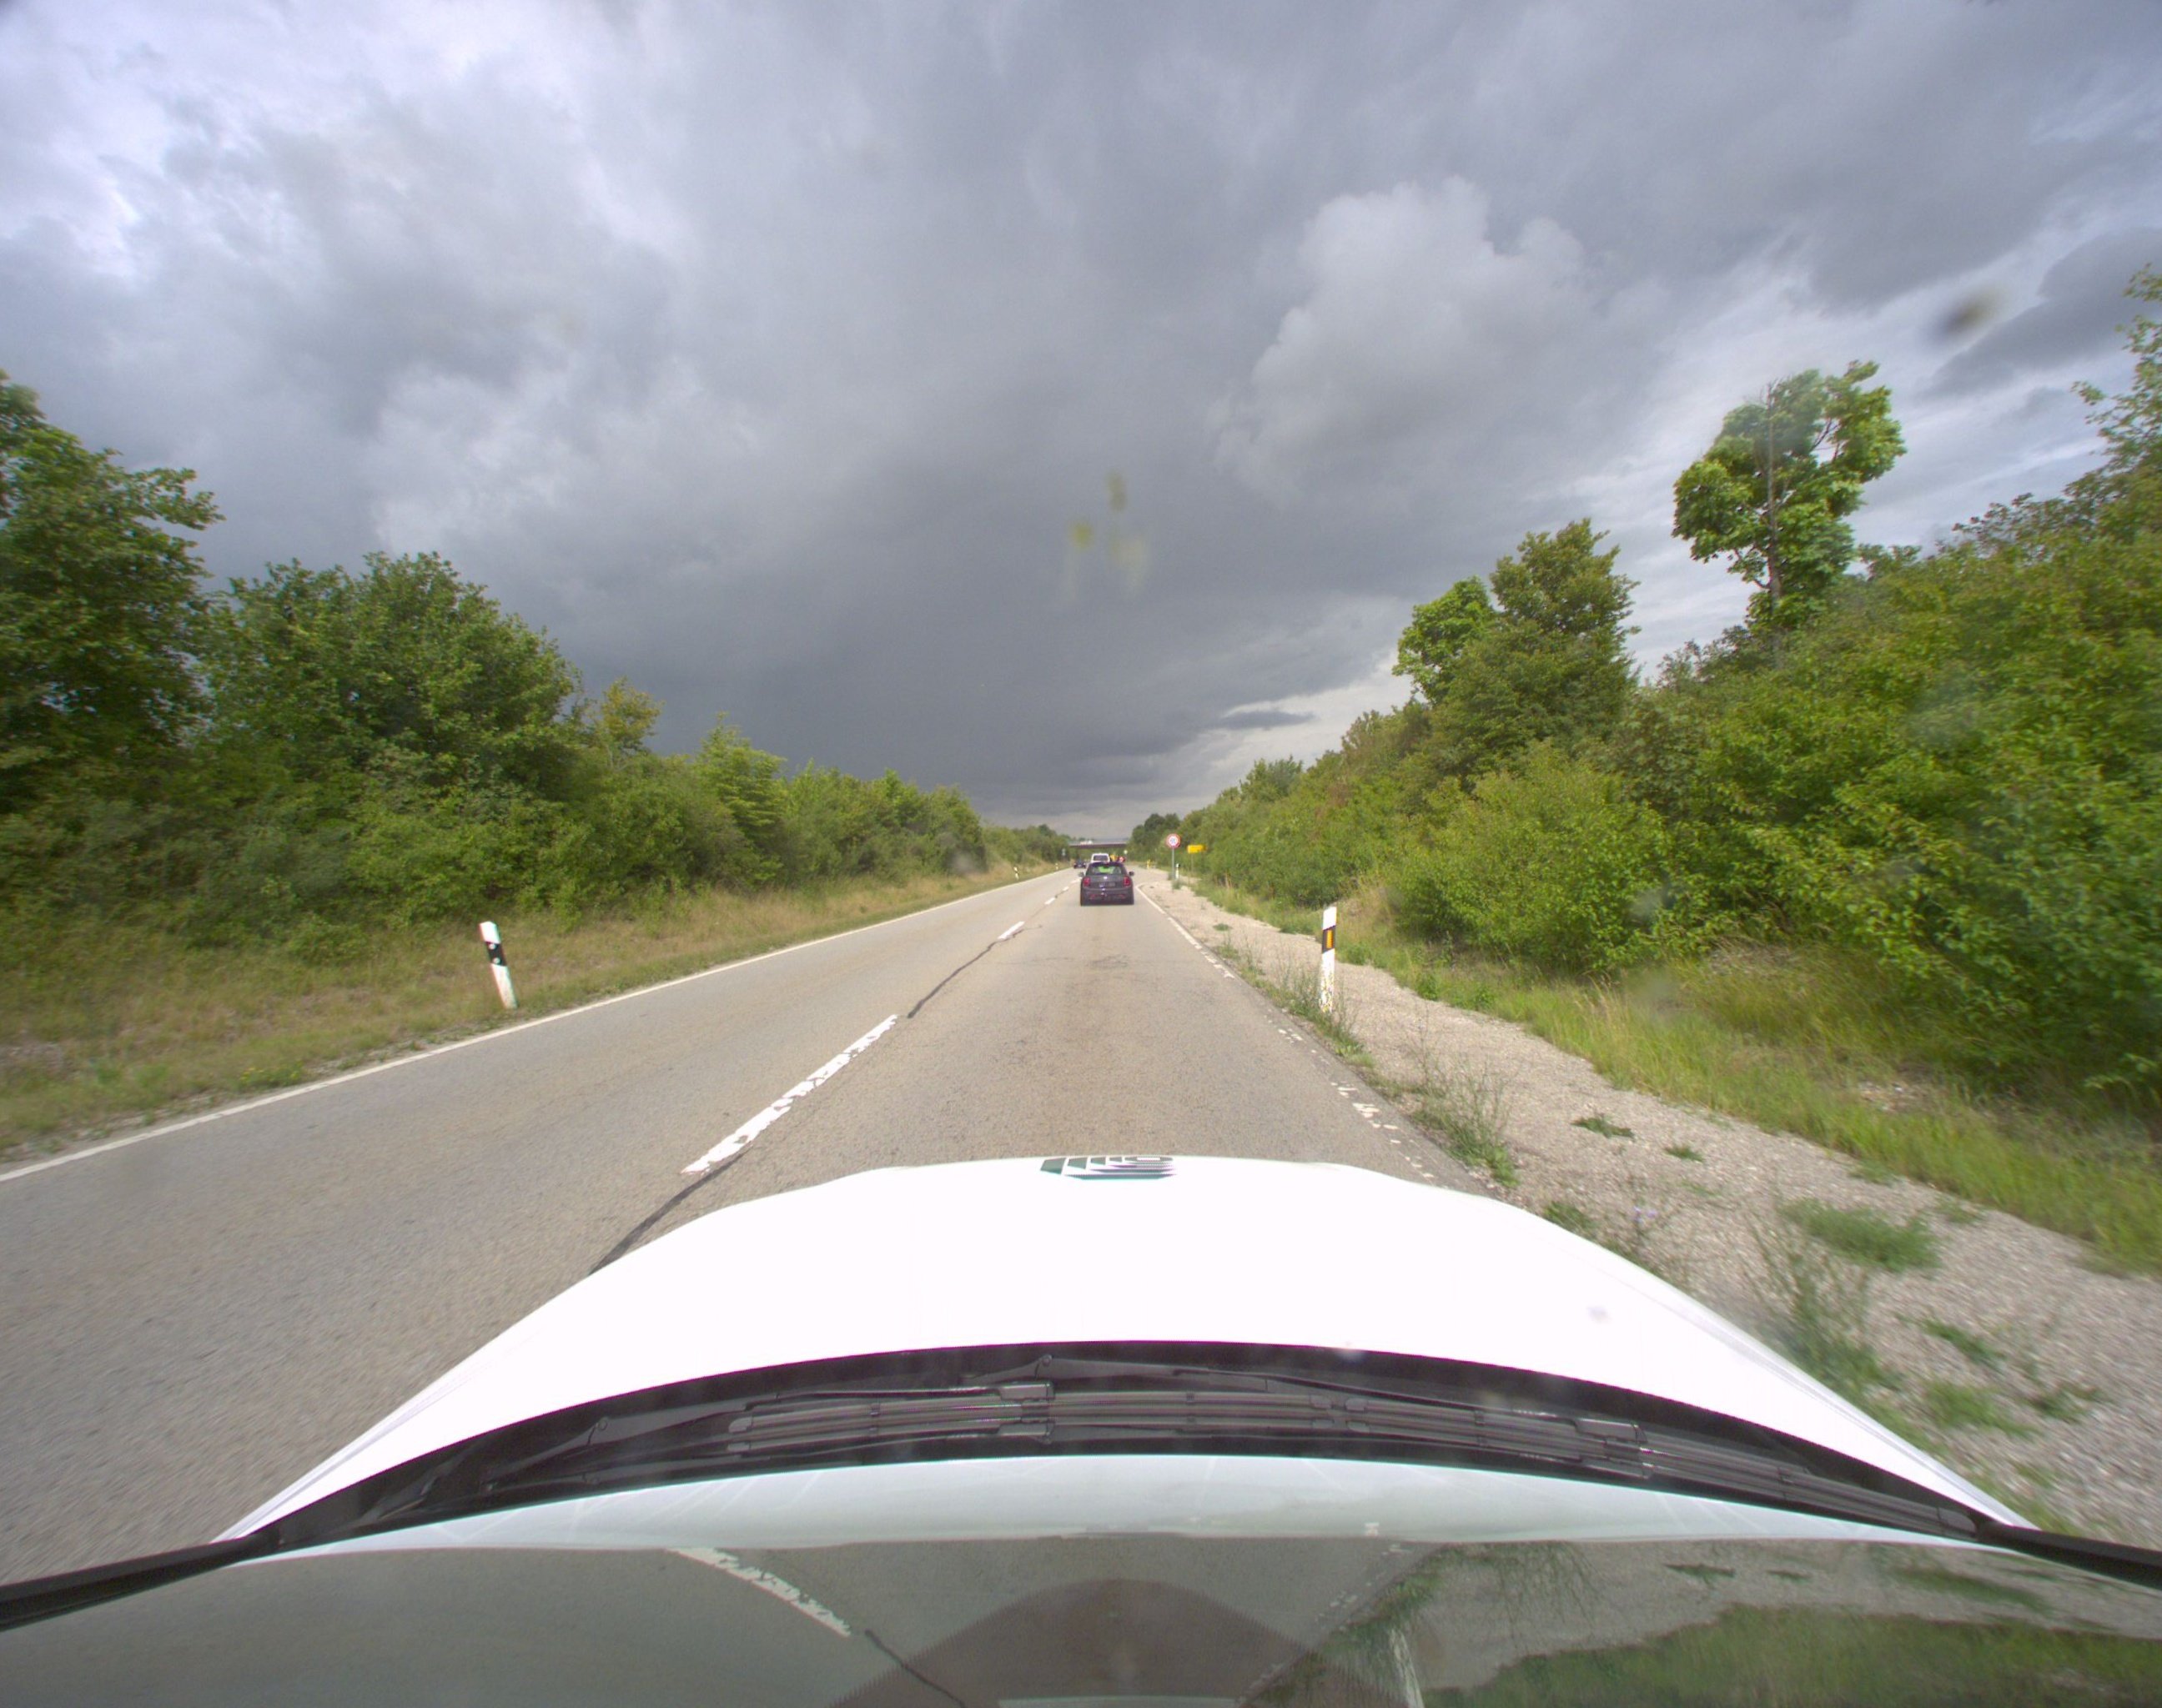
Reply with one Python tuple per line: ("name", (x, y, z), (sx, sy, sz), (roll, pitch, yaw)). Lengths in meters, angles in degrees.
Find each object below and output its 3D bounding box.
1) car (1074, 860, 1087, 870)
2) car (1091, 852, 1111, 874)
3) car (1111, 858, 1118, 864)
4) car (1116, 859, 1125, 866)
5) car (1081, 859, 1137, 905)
("car", (-0.064, 1.643, 121.338), (1.695, 1.330, 4.001), (-2, 0, 1))
("car", (1.858, 0.837, 76.104), (1.813, 2.054, 4.001), (0, 0, 1))
("car", (9.202, 1.859, 226.129), (1.775, 1.706, 3.999), (-1, 0, 0))
("car", (9.082, 2.054, 188.132), (1.987, 1.552, 3.999), (0, 0, -1))
("car", (0.922, 0.881, 27.545), (1.750, 1.427, 4.001), (0, 0, 1))
